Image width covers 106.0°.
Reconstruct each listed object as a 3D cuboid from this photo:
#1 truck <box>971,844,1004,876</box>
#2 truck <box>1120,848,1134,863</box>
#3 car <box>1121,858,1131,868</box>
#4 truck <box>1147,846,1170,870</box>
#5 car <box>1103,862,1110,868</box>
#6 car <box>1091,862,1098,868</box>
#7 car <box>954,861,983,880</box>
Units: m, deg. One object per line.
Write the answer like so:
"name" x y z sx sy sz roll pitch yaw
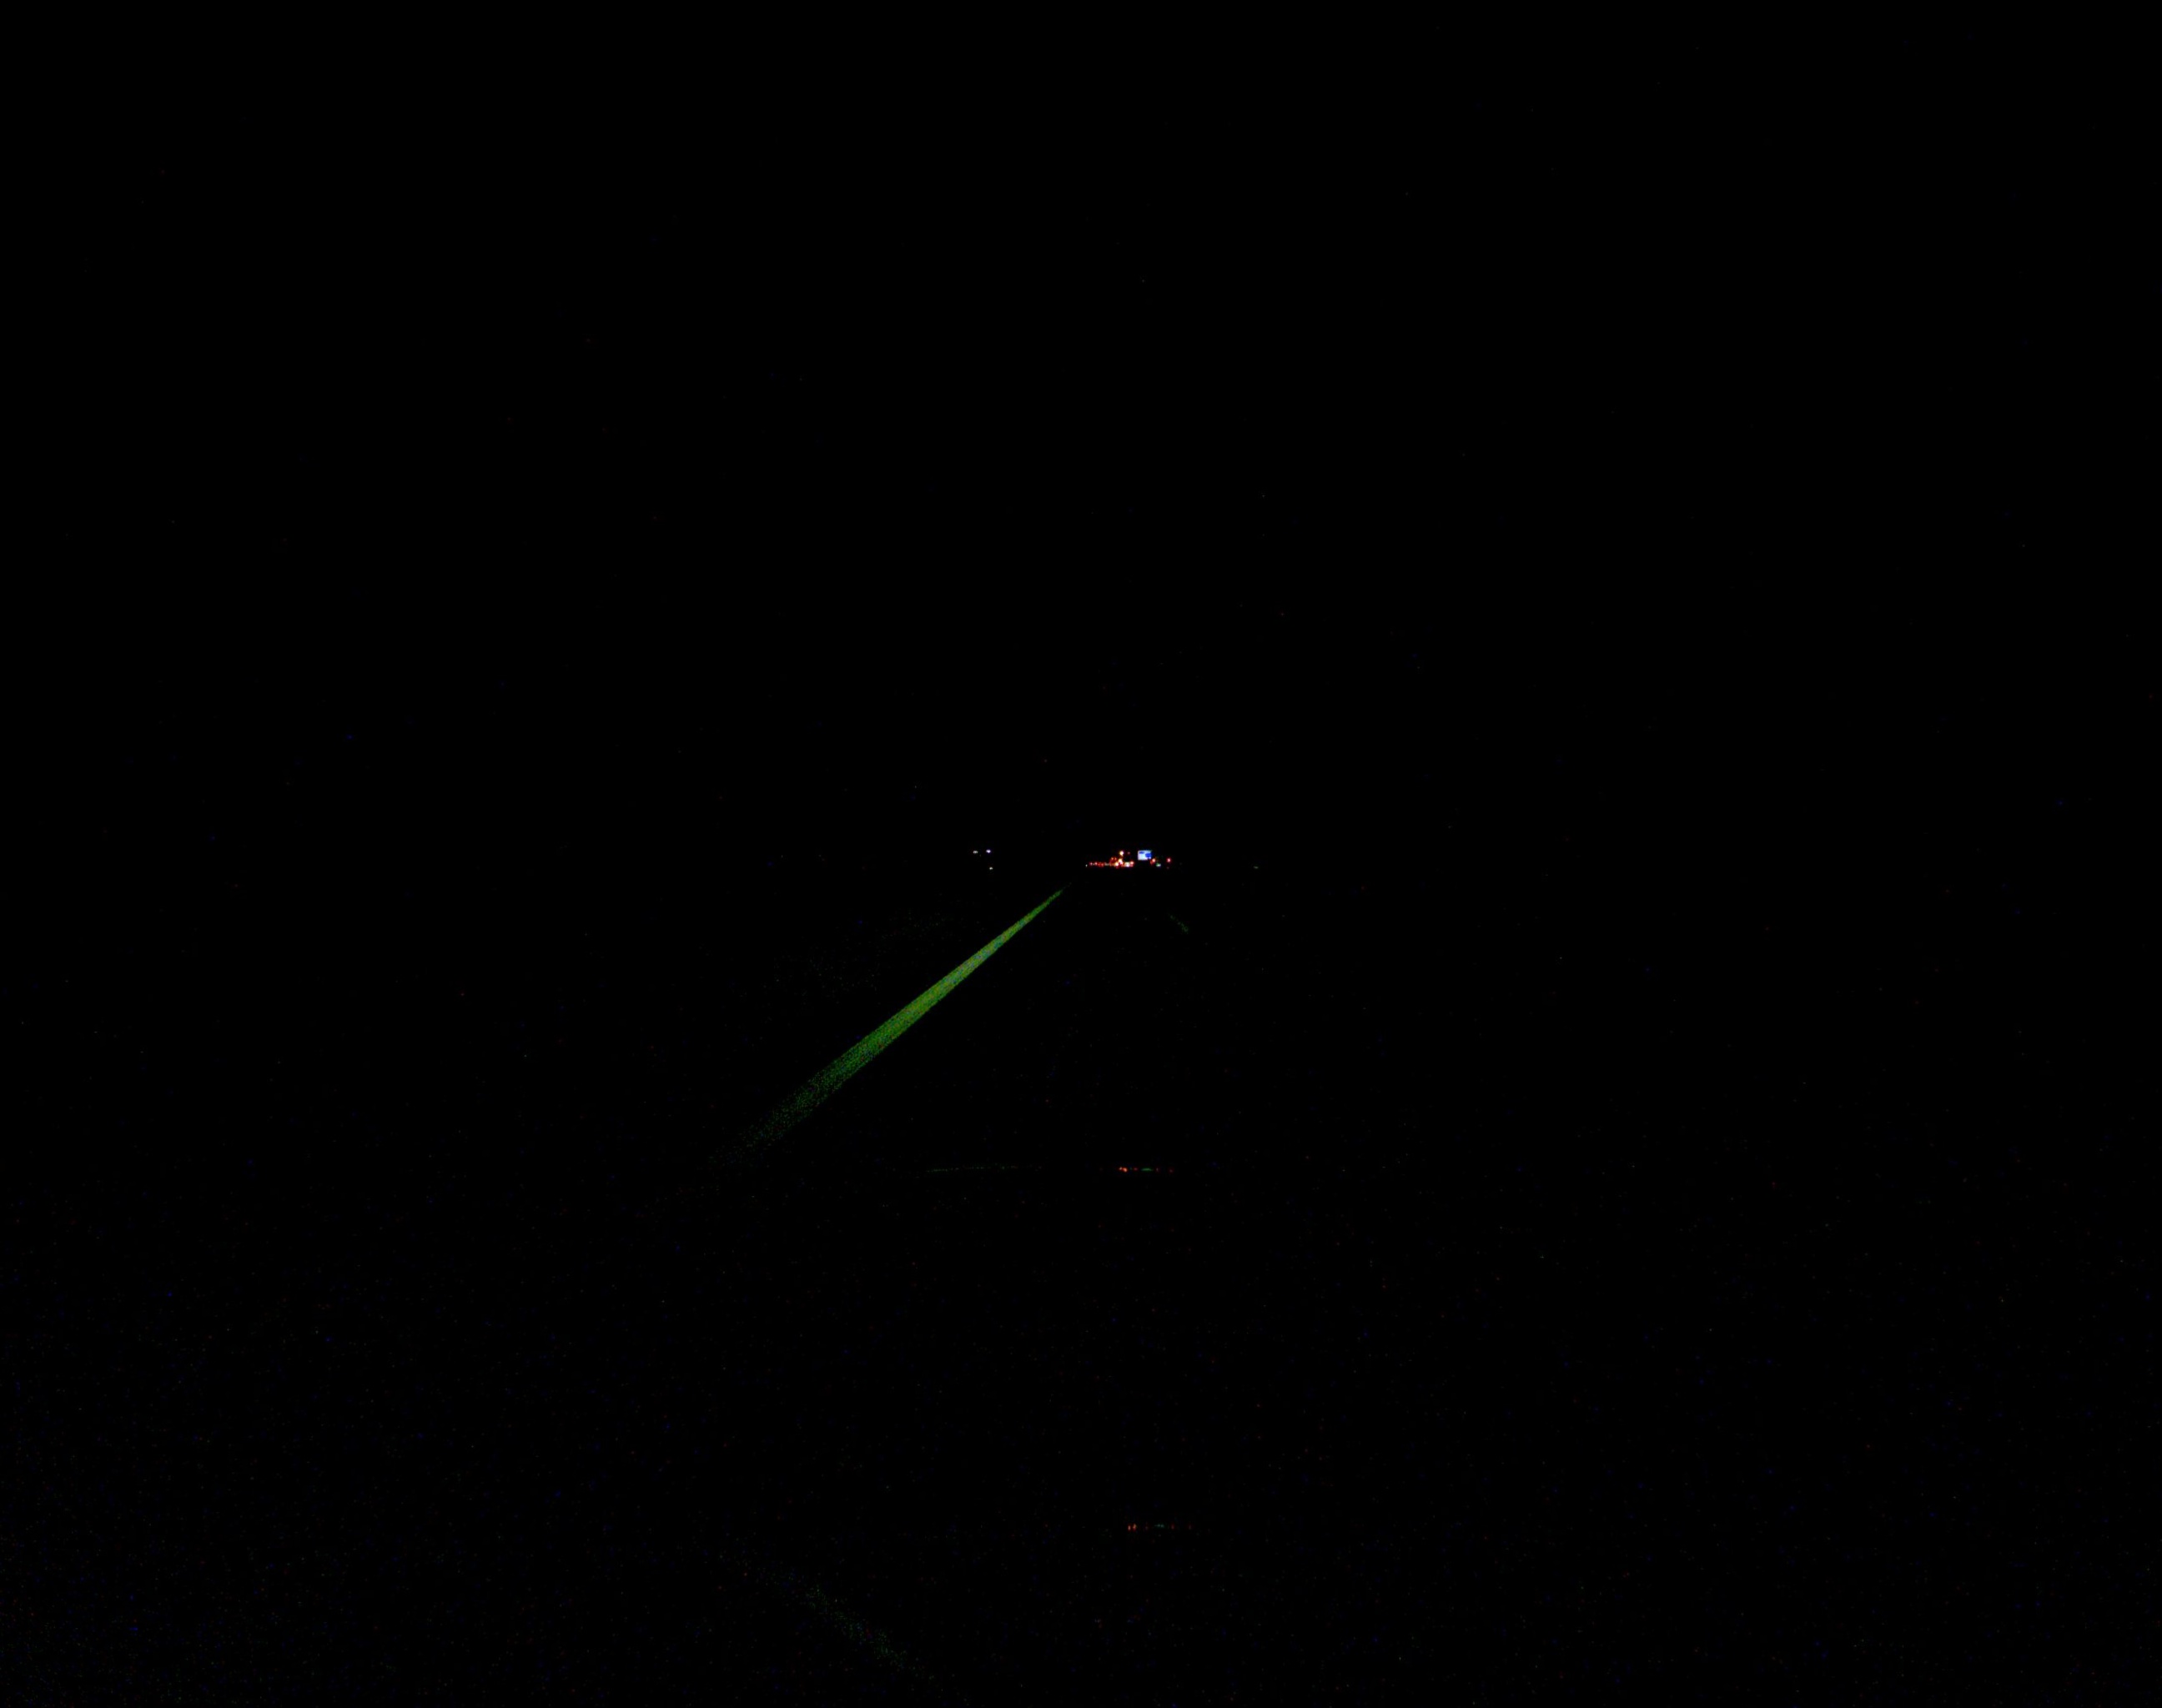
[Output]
"truck" -13.864 0.791 121.721 3.105 4.202 16.969 -3 0 -1
"truck" 10.564 0.307 188.674 3.033 3.324 10.145 0 0 1
"car" 6.494 1.243 117.417 1.341 1.387 3.503 0 0 2
"truck" 9.485 0.564 100.011 2.070 2.691 7.305 0 -2 0
"car" 6.964 2.970 221.814 1.814 1.466 4.249 0 0 2
"car" 3.325 2.712 200.042 1.814 1.466 4.249 0 0 2
"car" -10.042 1.448 72.929 1.744 1.478 4.753 -3 0 1
